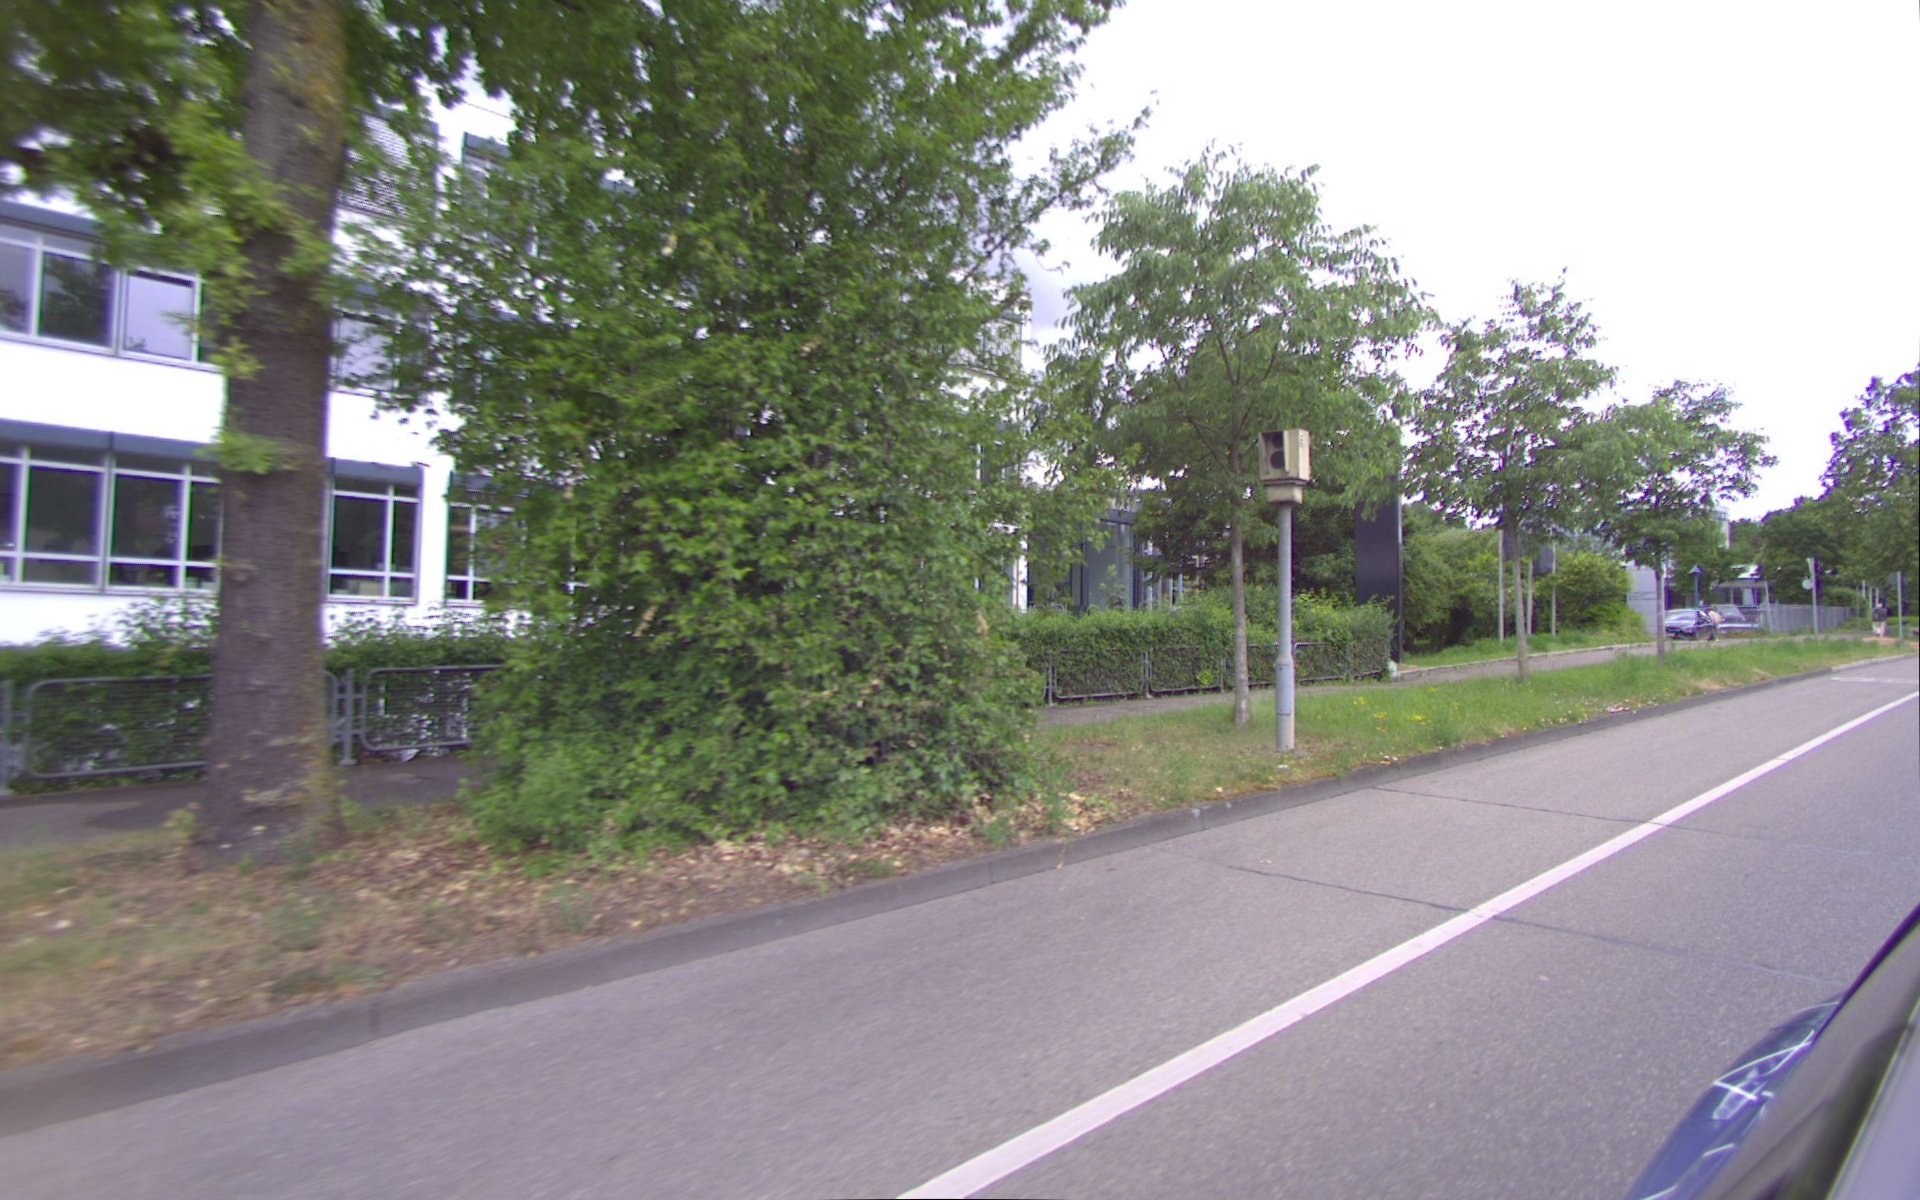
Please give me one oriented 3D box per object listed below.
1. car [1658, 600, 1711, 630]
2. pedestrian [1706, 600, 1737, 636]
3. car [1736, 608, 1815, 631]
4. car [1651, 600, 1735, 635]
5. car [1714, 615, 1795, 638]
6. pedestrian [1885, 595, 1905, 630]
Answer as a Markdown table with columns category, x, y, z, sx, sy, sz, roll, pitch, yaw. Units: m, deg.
| category | x | y | z | sx | sy | sz | roll | pitch | yaw |
| --- | --- | --- | --- | --- | --- | --- | --- | --- | --- |
| car | 57.712 | 1.216 | 80.754 | 2.087 | 2.304 | 4.458 | 0 | -1 | 17 |
| pedestrian | 35.404 | 0.822 | 47.062 | 0.796 | 1.586 | 0.944 | 0 | 1 | -33 |
| car | 59.320 | 1.462 | 73.626 | 1.787 | 1.468 | 4.181 | 2 | -5 | -41 |
| car | 32.409 | 0.791 | 44.695 | 4.892 | 1.435 | 1.849 | 1 | -3 | -40 |
| car | 55.315 | 1.884 | 70.517 | 1.787 | 1.468 | 4.181 | 2 | -5 | -41 |
| pedestrian | 47.890 | 0.636 | 51.826 | 0.493 | 1.748 | 0.732 | 0 | 1 | -44 |
